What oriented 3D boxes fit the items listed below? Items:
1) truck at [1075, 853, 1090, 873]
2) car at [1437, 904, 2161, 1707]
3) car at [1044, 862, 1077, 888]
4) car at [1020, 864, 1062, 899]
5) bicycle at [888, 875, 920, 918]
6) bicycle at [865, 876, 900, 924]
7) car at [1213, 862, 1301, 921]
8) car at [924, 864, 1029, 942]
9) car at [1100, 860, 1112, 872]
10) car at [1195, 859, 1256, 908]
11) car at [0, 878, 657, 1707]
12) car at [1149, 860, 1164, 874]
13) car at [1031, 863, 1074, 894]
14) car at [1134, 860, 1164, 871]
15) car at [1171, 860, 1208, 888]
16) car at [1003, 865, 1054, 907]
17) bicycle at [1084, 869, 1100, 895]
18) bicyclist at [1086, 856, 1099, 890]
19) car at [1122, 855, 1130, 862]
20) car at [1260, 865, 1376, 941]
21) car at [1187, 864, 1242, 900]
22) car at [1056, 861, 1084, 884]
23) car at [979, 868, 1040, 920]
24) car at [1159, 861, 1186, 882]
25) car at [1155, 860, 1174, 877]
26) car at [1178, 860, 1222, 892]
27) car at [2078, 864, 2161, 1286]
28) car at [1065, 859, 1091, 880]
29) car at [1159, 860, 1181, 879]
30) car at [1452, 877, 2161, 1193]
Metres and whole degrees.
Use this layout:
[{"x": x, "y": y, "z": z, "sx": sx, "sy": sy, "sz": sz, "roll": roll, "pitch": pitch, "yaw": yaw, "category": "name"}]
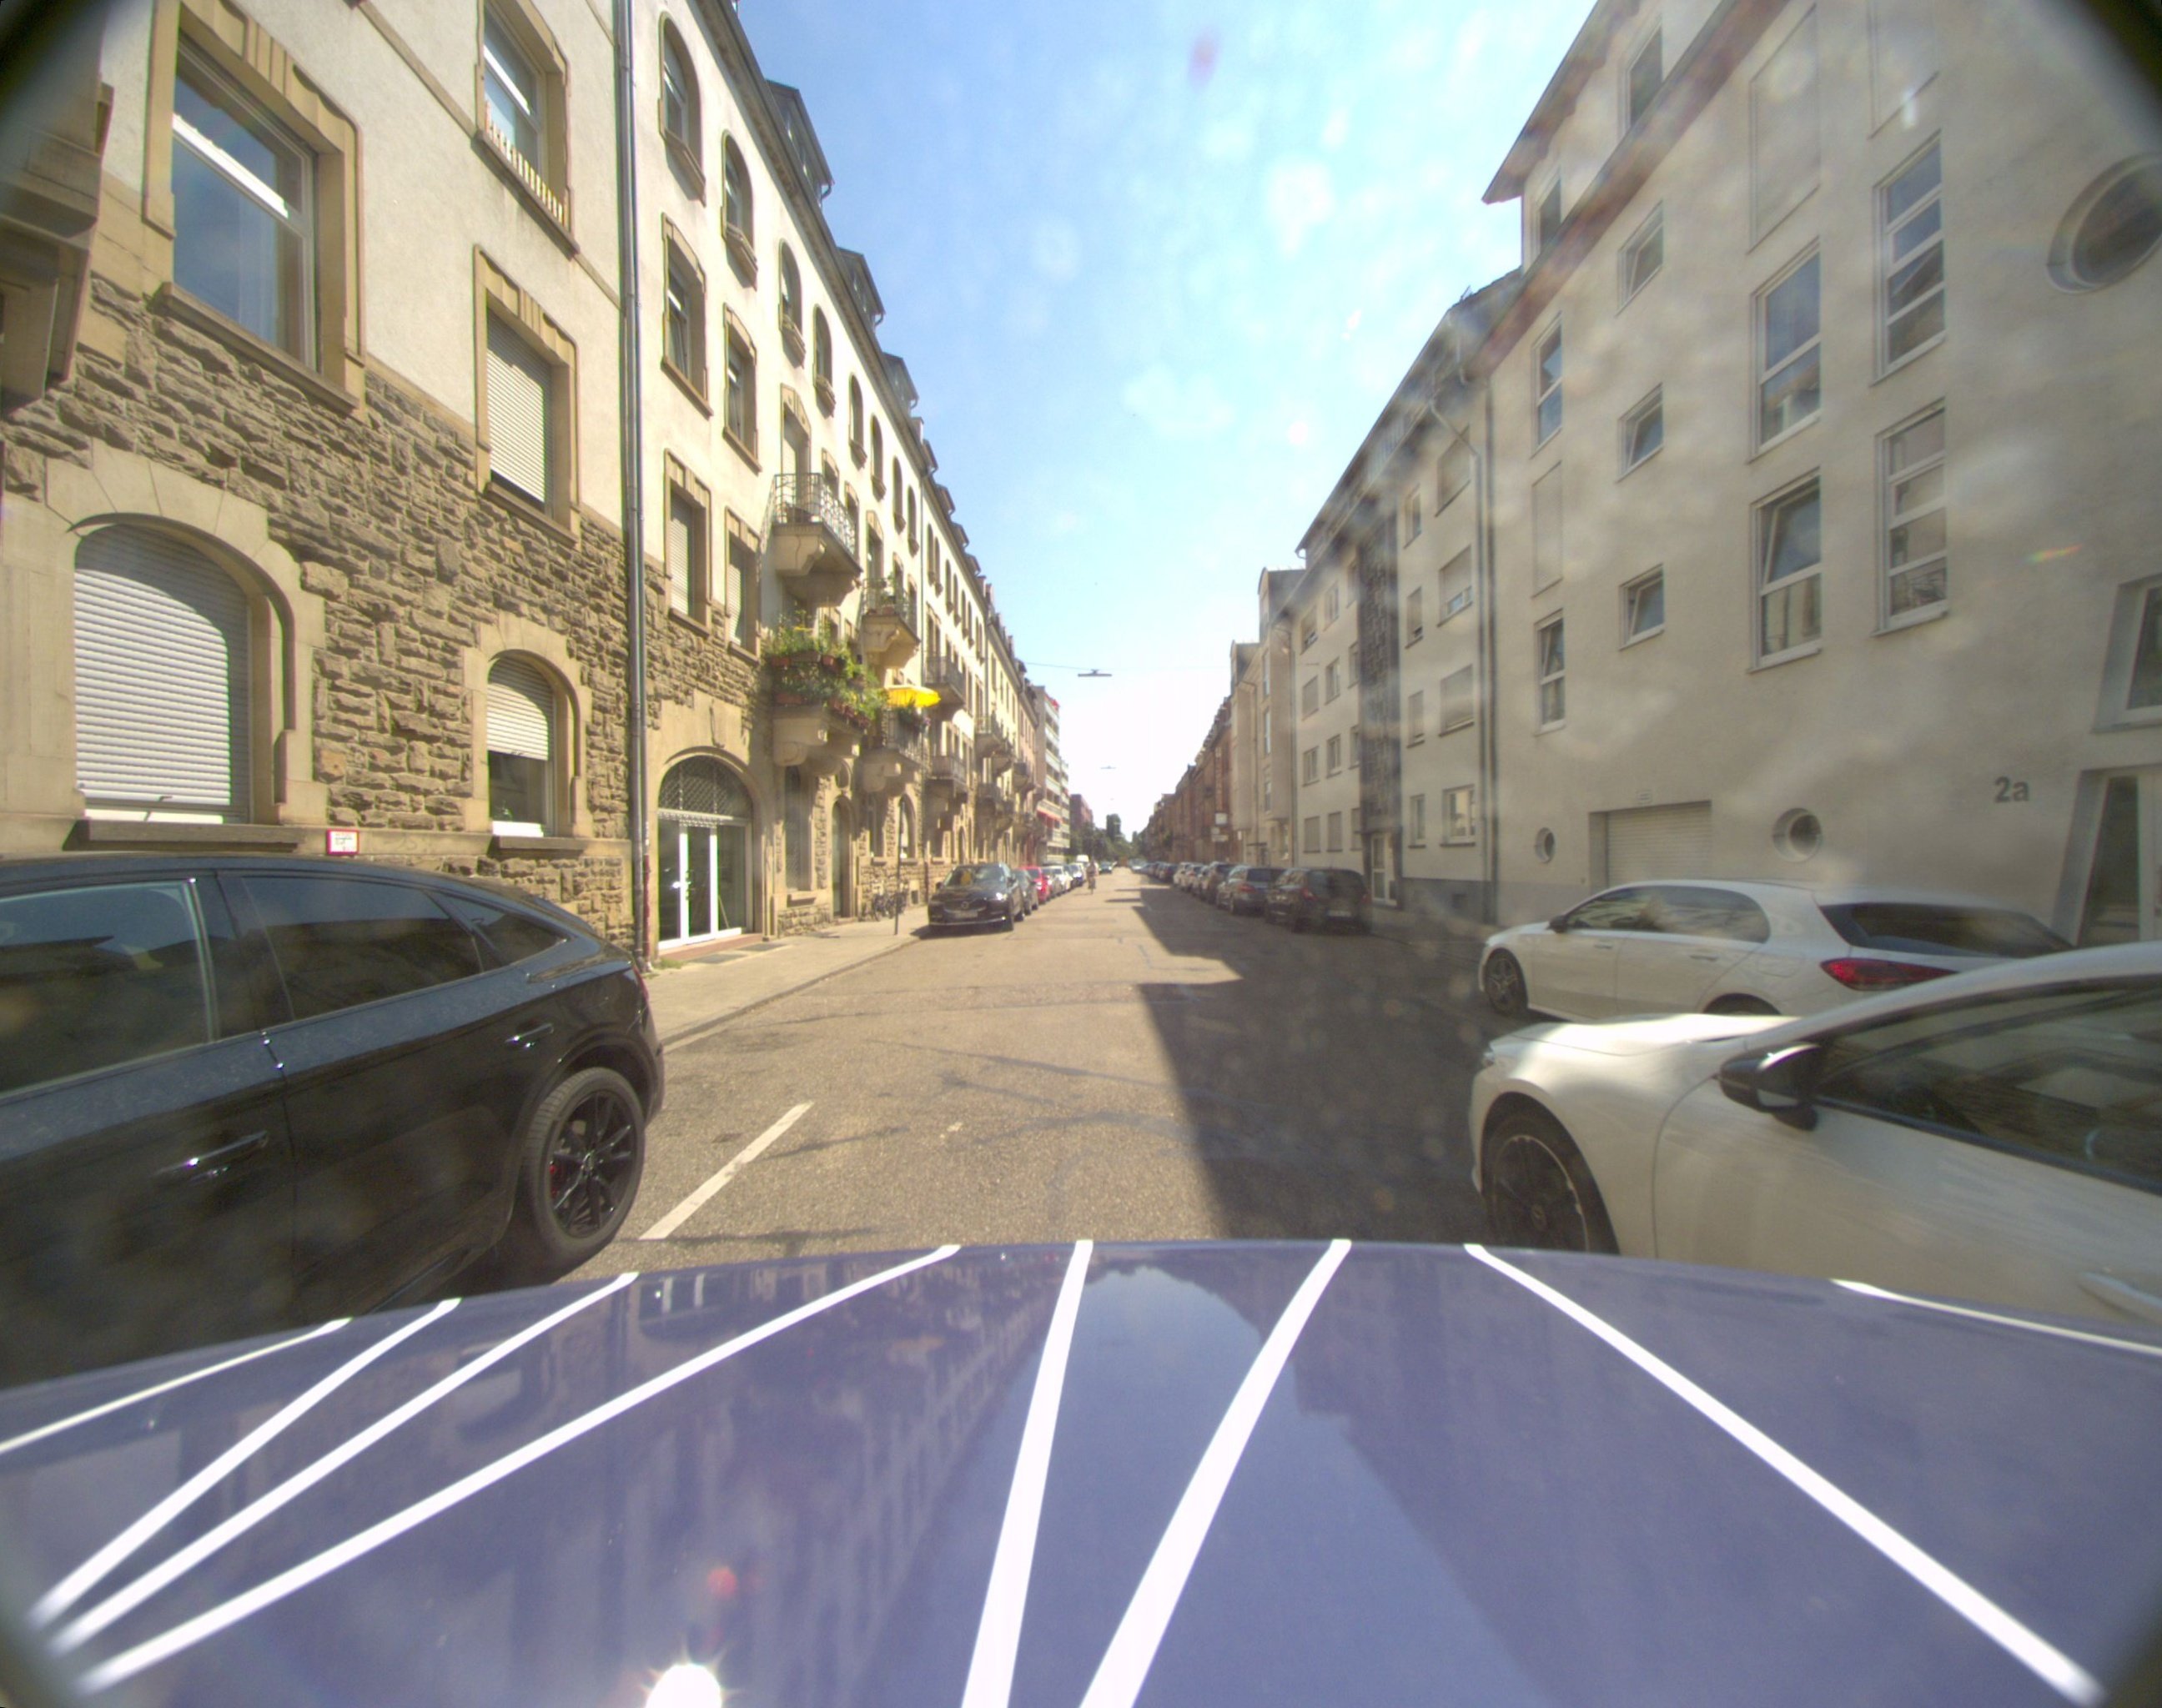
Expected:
[{"x": 0.234, "y": 1.280, "z": 109.253, "sx": 1.869, "sy": 2.715, "sz": 4.508, "roll": 0, "pitch": 0, "yaw": 3, "category": "truck"}, {"x": 2.266, "y": 0.950, "z": 0.733, "sx": 1.846, "sy": 1.452, "sz": 4.362, "roll": 2, "pitch": 0, "yaw": 1, "category": "car"}, {"x": -1.207, "y": 1.233, "z": 46.388, "sx": 1.741, "sy": 1.449, "sz": 4.669, "roll": 0, "pitch": 0, "yaw": 2, "category": "car"}, {"x": -1.811, "y": 1.252, "z": 35.634, "sx": 1.593, "sy": 1.444, "sz": 3.857, "roll": -2, "pitch": 0, "yaw": 2, "category": "car"}, {"x": -5.347, "y": 1.252, "z": 23.052, "sx": 0.442, "sy": 1.201, "sz": 1.775, "roll": 0, "pitch": 0, "yaw": 3, "category": "bicycle"}, {"x": -5.383, "y": 1.230, "z": 20.662, "sx": 0.385, "sy": 1.201, "sz": 1.775, "roll": 0, "pitch": 0, "yaw": 3, "category": "bicycle"}, {"x": 5.241, "y": 1.050, "z": 23.232, "sx": 1.660, "sy": 1.510, "sz": 4.671, "roll": 2, "pitch": 0, "yaw": 1, "category": "car"}, {"x": -2.430, "y": 1.087, "z": 18.766, "sx": 1.837, "sy": 1.557, "sz": 4.605, "roll": -2, "pitch": 0, "yaw": 1, "category": "car"}, {"x": 3.401, "y": 1.571, "z": 101.947, "sx": 1.624, "sy": 1.600, "sz": 3.598, "roll": 0, "pitch": 0, "yaw": 2, "category": "car"}, {"x": 5.398, "y": 1.059, "z": 28.834, "sx": 1.607, "sy": 1.634, "sz": 3.977, "roll": 2, "pitch": 0, "yaw": 1, "category": "car"}, {"x": -2.821, "y": 0.934, "z": 1.313, "sx": 1.740, "sy": 1.587, "sz": 4.347, "roll": -2, "pitch": 0, "yaw": -1, "category": "car"}, {"x": 8.355, "y": 1.421, "z": 84.139, "sx": 1.449, "sy": 1.391, "sz": 3.526, "roll": 4, "pitch": 0, "yaw": 3, "category": "car"}, {"x": -1.490, "y": 1.255, "z": 40.852, "sx": 1.720, "sy": 1.444, "sz": 4.598, "roll": -2, "pitch": 0, "yaw": 5, "category": "car"}, {"x": 9.014, "y": 1.551, "z": 100.945, "sx": 3.996, "sy": 1.422, "sz": 1.678, "roll": 0, "pitch": 0, "yaw": 4, "category": "car"}, {"x": 6.775, "y": 1.222, "z": 47.805, "sx": 1.633, "sy": 1.540, "sz": 3.853, "roll": 4, "pitch": 0, "yaw": -1, "category": "car"}, {"x": -2.034, "y": 1.222, "z": 30.203, "sx": 1.574, "sy": 1.444, "sz": 3.843, "roll": -2, "pitch": 0, "yaw": 2, "category": "car"}, {"x": 0.551, "y": 1.360, "z": 37.318, "sx": 0.671, "sy": 1.169, "sz": 2.095, "roll": 0, "pitch": 0, "yaw": 3, "category": "bicycle"}, {"x": 0.568, "y": 0.922, "z": 37.443, "sx": 0.644, "sy": 1.640, "sz": 0.622, "roll": 0, "pitch": 1, "yaw": 3, "category": "bicyclist"}, {"x": 11.789, "y": 1.153, "z": 198.274, "sx": 1.784, "sy": 2.002, "sz": 4.002, "roll": -1, "pitch": 0, "yaw": 5, "category": "car"}, {"x": 5.423, "y": 1.062, "z": 17.868, "sx": 1.571, "sy": 1.483, "sz": 3.894, "roll": 2, "pitch": 0, "yaw": 1, "category": "car"}, {"x": 5.923, "y": 1.206, "z": 34.076, "sx": 1.769, "sy": 1.385, "sz": 4.349, "roll": 2, "pitch": 0, "yaw": 1, "category": "car"}, {"x": -0.740, "y": 1.241, "z": 52.335, "sx": 1.828, "sy": 1.423, "sz": 4.489, "roll": -1, "pitch": 0, "yaw": 0, "category": "car"}, {"x": -2.205, "y": 1.201, "z": 24.231, "sx": 1.516, "sy": 1.390, "sz": 3.972, "roll": -2, "pitch": 0, "yaw": 0, "category": "car"}, {"x": 7.035, "y": 1.349, "z": 58.479, "sx": 1.781, "sy": 1.421, "sz": 3.838, "roll": 4, "pitch": 0, "yaw": 4, "category": "car"}, {"x": 7.981, "y": 1.347, "z": 73.008, "sx": 1.450, "sy": 1.464, "sz": 3.526, "roll": 4, "pitch": 0, "yaw": 1, "category": "car"}, {"x": 6.329, "y": 1.128, "z": 40.796, "sx": 1.734, "sy": 1.486, "sz": 4.349, "roll": 2, "pitch": 0, "yaw": 1, "category": "car"}, {"x": 4.894, "y": 0.855, "z": 1.041, "sx": 1.676, "sy": 1.573, "sz": 4.052, "roll": 2, "pitch": 0, "yaw": 0, "category": "car"}, {"x": -0.197, "y": 1.256, "z": 63.007, "sx": 1.651, "sy": 1.613, "sz": 4.094, "roll": 0, "pitch": 0, "yaw": 7, "category": "car"}, {"x": 7.450, "y": 1.314, "z": 63.804, "sx": 1.632, "sy": 1.421, "sz": 3.679, "roll": 4, "pitch": 0, "yaw": 4, "category": "car"}, {"x": 4.925, "y": 1.003, "z": 6.054, "sx": 1.781, "sy": 1.451, "sz": 4.278, "roll": 2, "pitch": 0, "yaw": 0, "category": "car"}]
